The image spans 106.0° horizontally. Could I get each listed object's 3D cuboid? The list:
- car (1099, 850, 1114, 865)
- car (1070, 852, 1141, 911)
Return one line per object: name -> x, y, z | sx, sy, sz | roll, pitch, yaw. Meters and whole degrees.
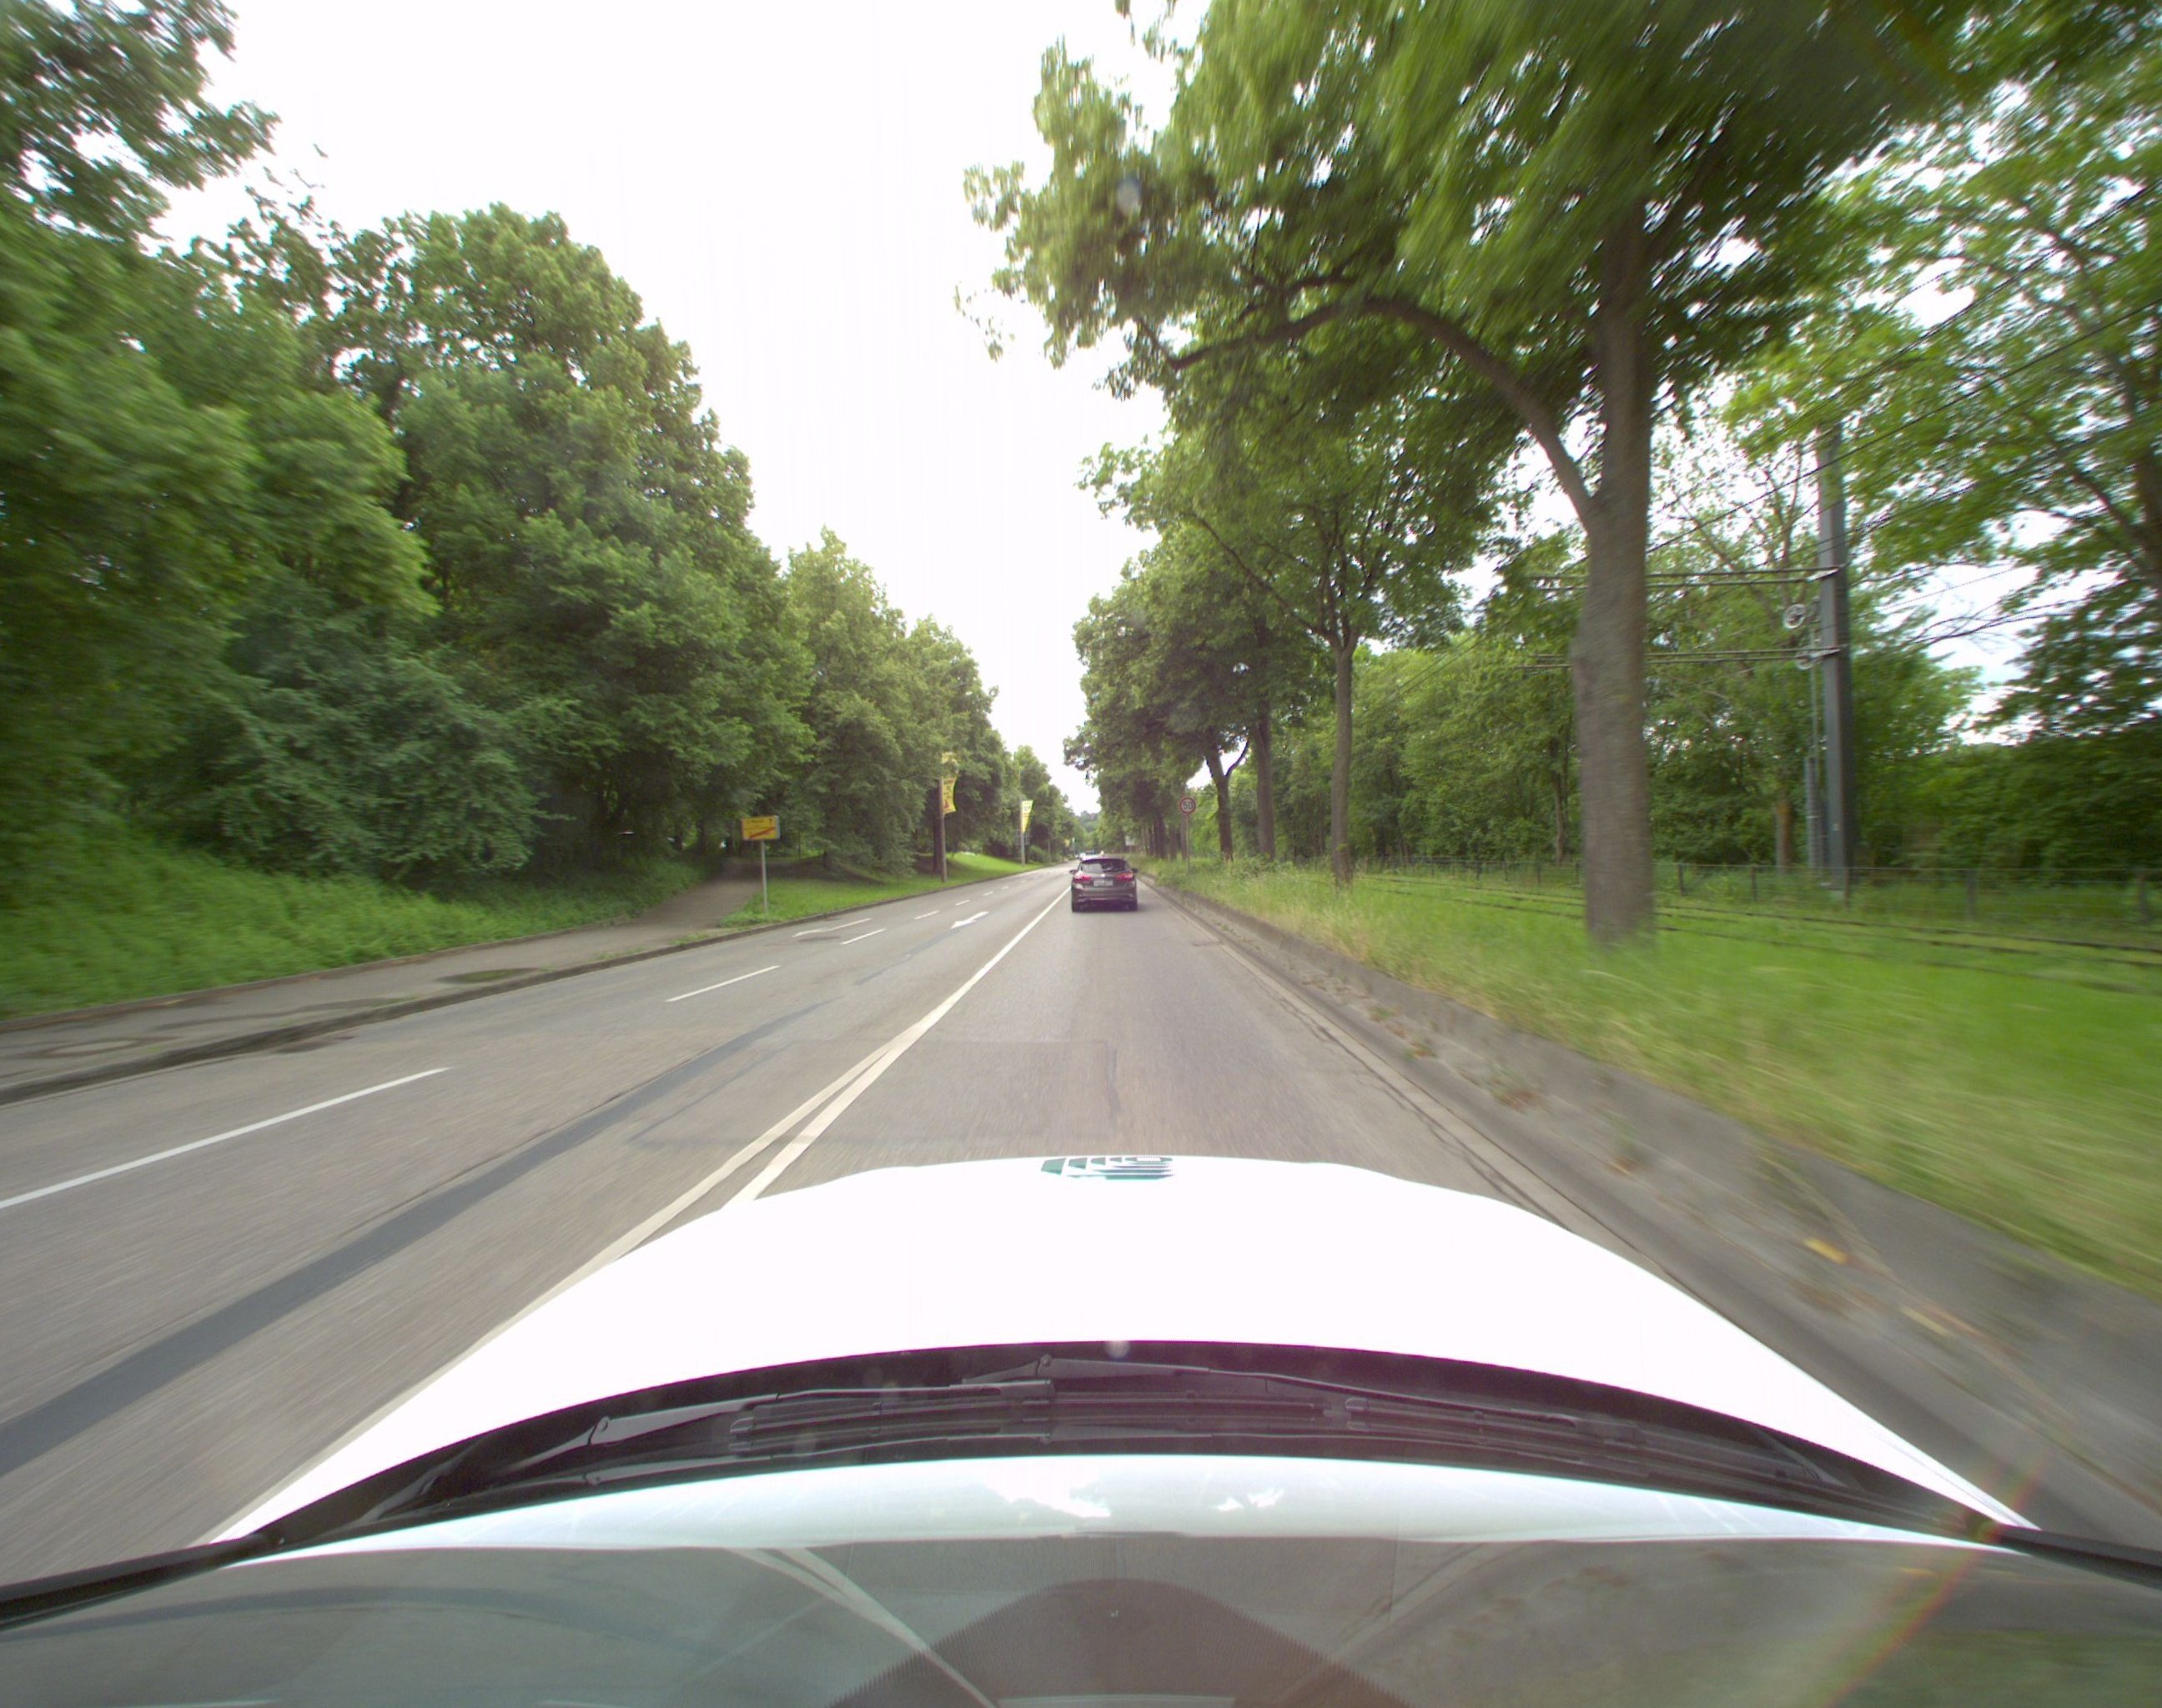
car -> 2.661, 0.391, 84.749 | 1.497, 1.528, 3.674 | 0, 0, 3
car -> 0.741, 0.718, 23.125 | 1.829, 1.528, 3.932 | -1, 0, 3
